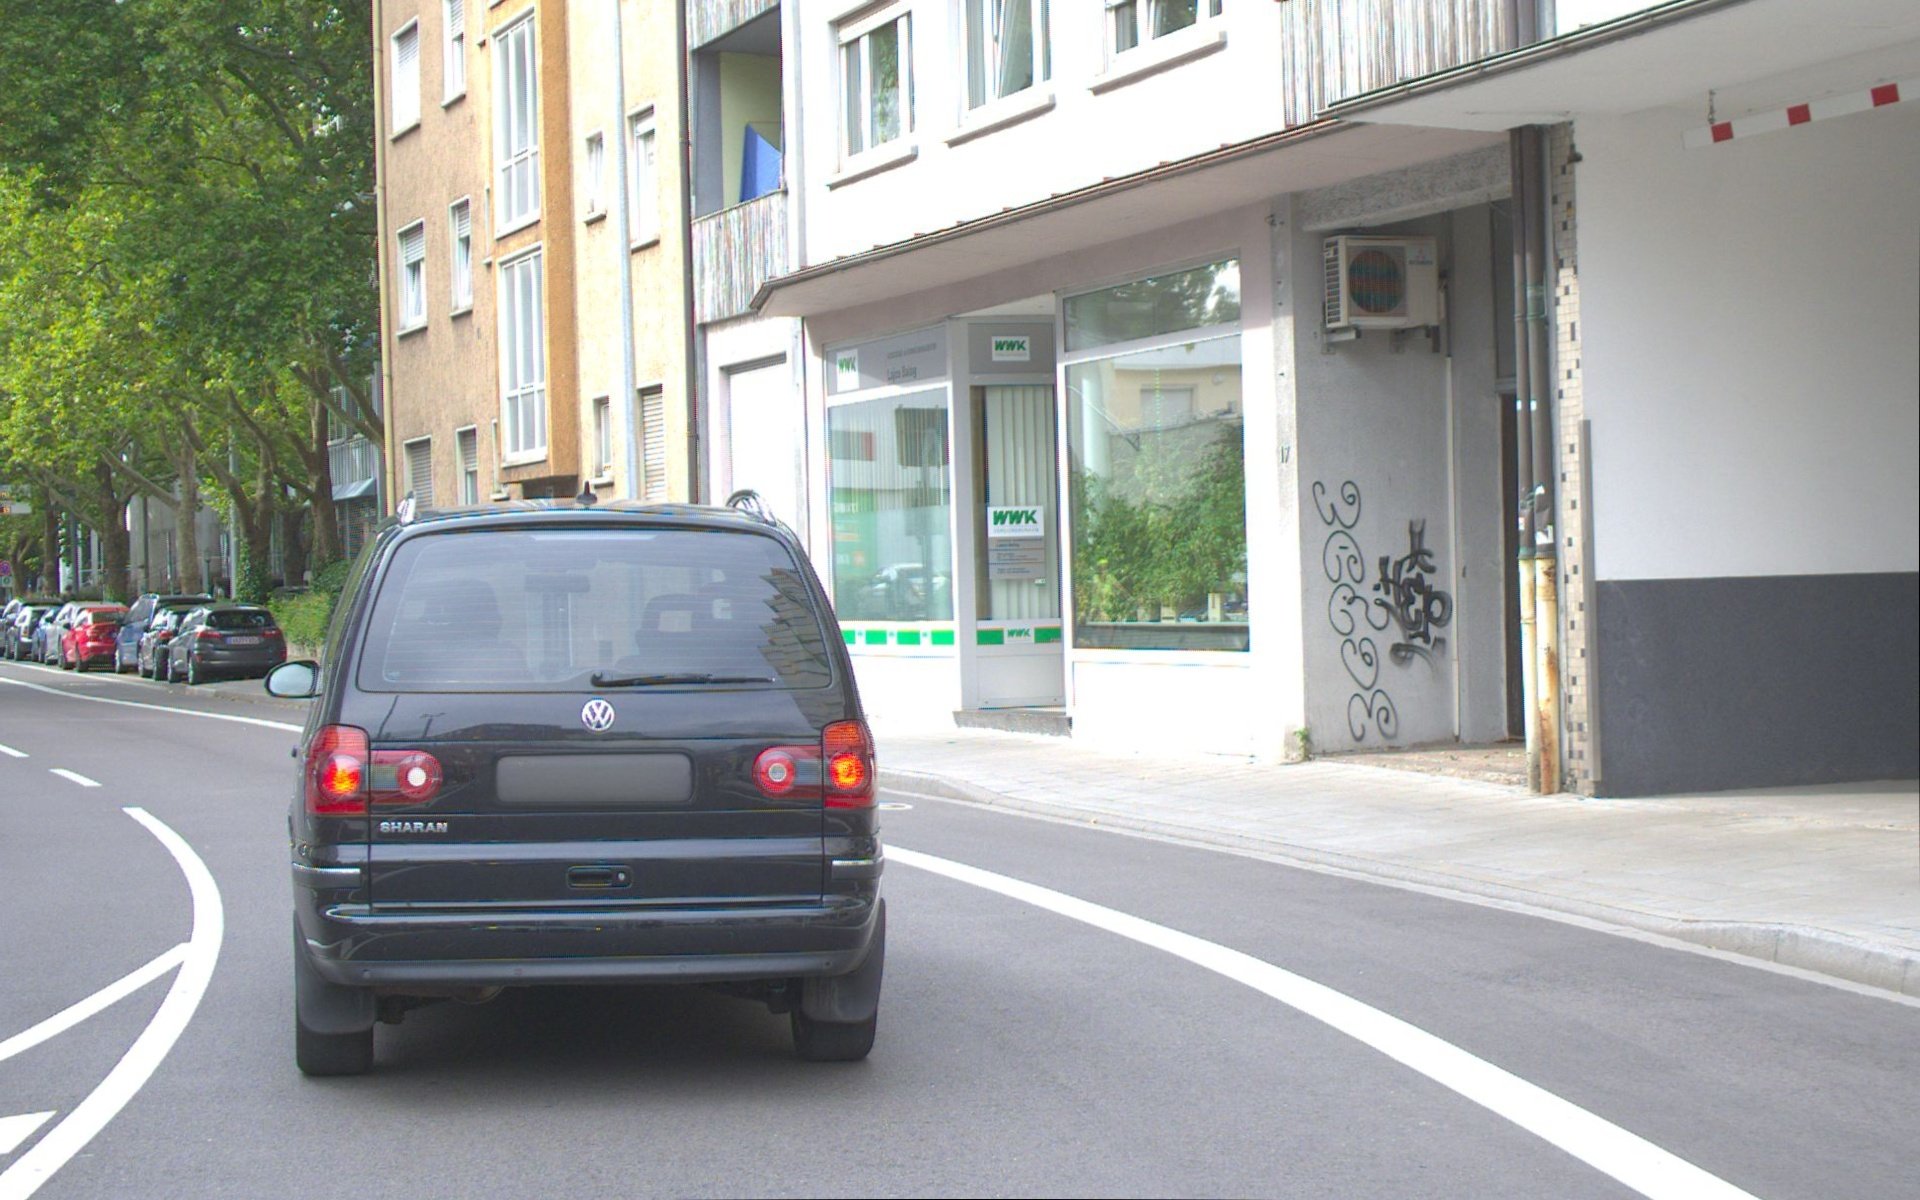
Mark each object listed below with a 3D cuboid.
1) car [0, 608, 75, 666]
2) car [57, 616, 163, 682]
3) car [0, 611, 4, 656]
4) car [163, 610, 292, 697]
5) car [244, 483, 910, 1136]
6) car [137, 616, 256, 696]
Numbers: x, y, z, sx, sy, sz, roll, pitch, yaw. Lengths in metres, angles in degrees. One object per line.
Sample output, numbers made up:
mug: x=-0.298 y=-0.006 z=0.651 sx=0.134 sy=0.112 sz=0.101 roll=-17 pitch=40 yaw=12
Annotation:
car: x=-24.520 y=0.976 z=90.885 sx=1.629 sy=1.465 sz=4.318 roll=-1 pitch=0 yaw=-21
car: x=-18.876 y=1.084 z=76.235 sx=1.675 sy=1.389 sz=4.462 roll=-1 pitch=0 yaw=-21
car: x=-31.220 y=1.080 z=108.290 sx=1.675 sy=1.389 sz=4.462 roll=-1 pitch=0 yaw=-21
car: x=-13.294 y=0.943 z=62.262 sx=1.657 sy=1.417 sz=3.867 roll=-2 pitch=1 yaw=-21
car: x=-1.380 y=0.545 z=11.326 sx=1.812 sy=1.760 sz=3.739 roll=-1 pitch=1 yaw=-10
car: x=-14.869 y=1.064 z=66.812 sx=1.657 sy=1.417 sz=3.948 roll=-2 pitch=1 yaw=-21
